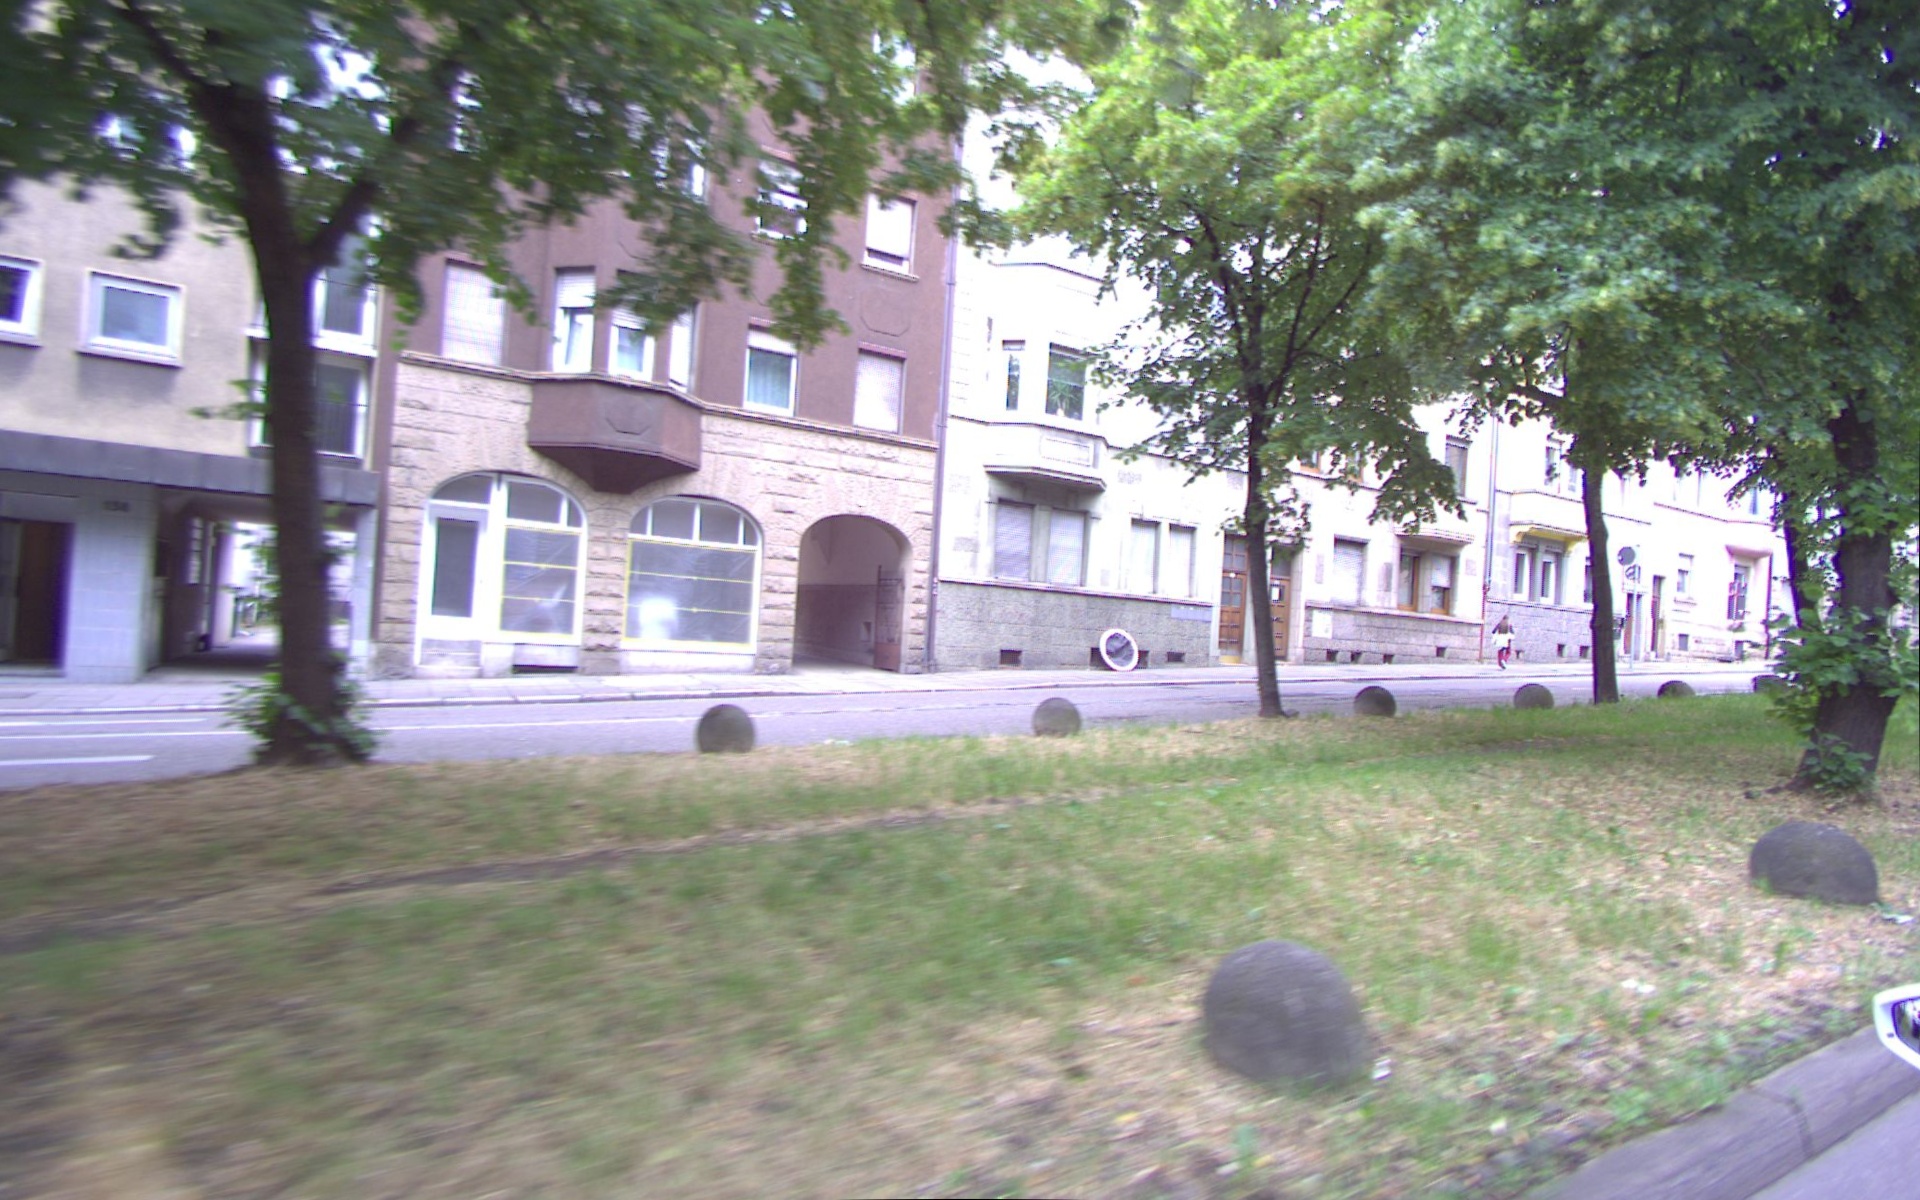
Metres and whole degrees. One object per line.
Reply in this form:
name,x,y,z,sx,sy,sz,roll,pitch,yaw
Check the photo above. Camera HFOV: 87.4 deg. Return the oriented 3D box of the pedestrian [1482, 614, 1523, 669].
pedestrian,15.033,1.141,27.851,0.695,1.480,0.695,1,1,-30
